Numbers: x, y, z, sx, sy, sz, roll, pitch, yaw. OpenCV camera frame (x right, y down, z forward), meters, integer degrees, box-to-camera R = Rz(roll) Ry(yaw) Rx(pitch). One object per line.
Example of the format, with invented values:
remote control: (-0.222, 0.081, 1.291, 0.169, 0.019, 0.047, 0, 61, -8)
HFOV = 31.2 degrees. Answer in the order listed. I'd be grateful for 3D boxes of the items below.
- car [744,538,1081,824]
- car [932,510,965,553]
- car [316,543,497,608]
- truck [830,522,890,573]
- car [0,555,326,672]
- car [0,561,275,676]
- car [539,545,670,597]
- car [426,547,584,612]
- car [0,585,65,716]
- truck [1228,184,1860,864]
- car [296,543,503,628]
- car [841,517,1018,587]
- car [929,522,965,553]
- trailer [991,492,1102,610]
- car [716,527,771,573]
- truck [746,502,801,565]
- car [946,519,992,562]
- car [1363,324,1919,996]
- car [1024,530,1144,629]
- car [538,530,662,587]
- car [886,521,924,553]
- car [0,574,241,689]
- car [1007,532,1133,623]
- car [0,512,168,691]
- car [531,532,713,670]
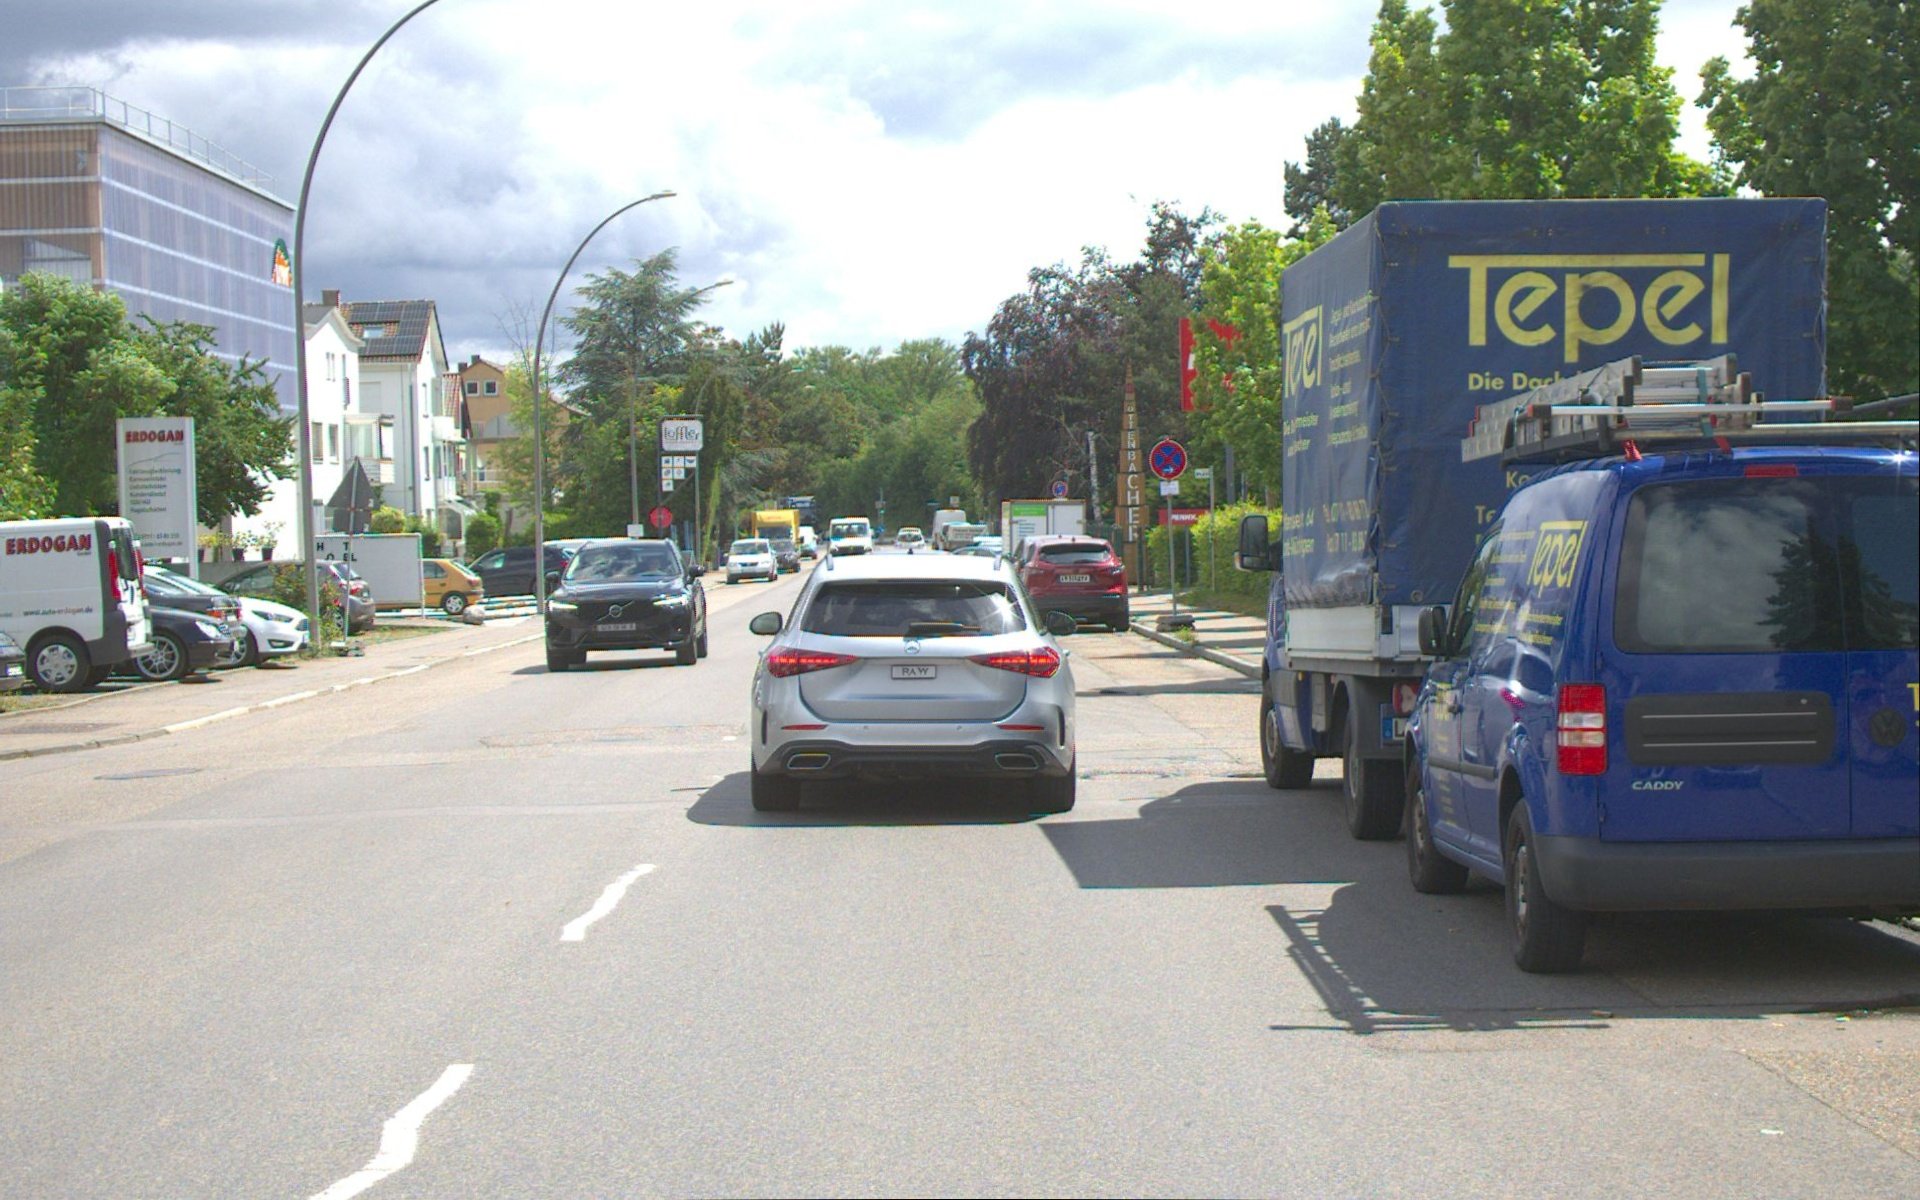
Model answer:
car: (-0.346, 0.389, 20.405, 1.784, 1.479, 4.317, 0, 1, -3)
car: (-0.683, -4.030, 202.439, 1.784, 2.510, 4.317, 0, 1, -3)
car: (-13.400, -0.594, 83.400, 4.149, 1.486, 1.826, 1, 1, -4)
truck: (-4.540, -2.425, 156.814, 2.319, 2.171, 6.449, -2, 1, 1)
car: (-11.066, 0.183, 47.170, 4.374, 1.473, 1.871, -1, 0, 0)
car: (-11.044, 0.234, 44.327, 3.987, 1.350, 1.871, -1, 1, 2)
car: (-12.244, -0.993, 118.701, 4.279, 1.561, 1.991, -2, -2, 0)
car: (-14.098, -0.648, 106.710, 4.626, 1.627, 2.198, -4, 2, -4)
car: (-11.001, 0.458, 33.704, 3.986, 1.200, 1.872, 1, 1, -2)
truck: (2.906, -0.419, 18.748, 2.320, 3.086, 6.043, 1, 1, -1)
car: (-10.861, -0.286, 66.757, 3.628, 1.527, 1.980, -1, 1, 2)
car: (-0.720, -1.167, 83.072, 3.988, 1.590, 1.999, 1, 1, 10)
car: (-0.738, -3.455, 190.464, 1.784, 1.709, 4.317, 0, 1, -3)
trailer: (1.732, -1.008, 70.377, 1.941, 2.286, 4.446, -2, 1, -2)
car: (-8.139, -1.897, 129.608, 1.791, 1.598, 4.364, -2, 1, -1)
truck: (-8.820, -3.192, 163.454, 2.075, 2.804, 7.078, -2, 2, 0)
car: (0.415, -2.879, 165.093, 2.144, 1.977, 5.261, -2, 1, 0)
car: (2.790, 0.144, 13.353, 1.873, 2.161, 4.465, 1, 1, 0)
car: (2.104, -0.386, 59.152, 1.941, 1.566, 4.446, -2, 1, 1)
car: (-13.005, -1.499, 124.337, 4.279, 1.830, 1.991, -2, -2, -2)
car: (-2.715, -3.110, 169.118, 1.755, 1.553, 4.001, -1, 1, -1)
car: (-10.996, 0.392, 42.110, 3.986, 1.310, 1.872, -2, 1, -2)
car: (2.007, -0.455, 64.133, 1.941, 1.566, 4.446, -2, 1, -3)
car: (-11.652, 0.037, 39.491, 4.650, 1.965, 2.116, -2, 1, -4)
car: (-4.367, -0.033, 45.049, 1.993, 1.610, 4.411, -3, 2, -1)
